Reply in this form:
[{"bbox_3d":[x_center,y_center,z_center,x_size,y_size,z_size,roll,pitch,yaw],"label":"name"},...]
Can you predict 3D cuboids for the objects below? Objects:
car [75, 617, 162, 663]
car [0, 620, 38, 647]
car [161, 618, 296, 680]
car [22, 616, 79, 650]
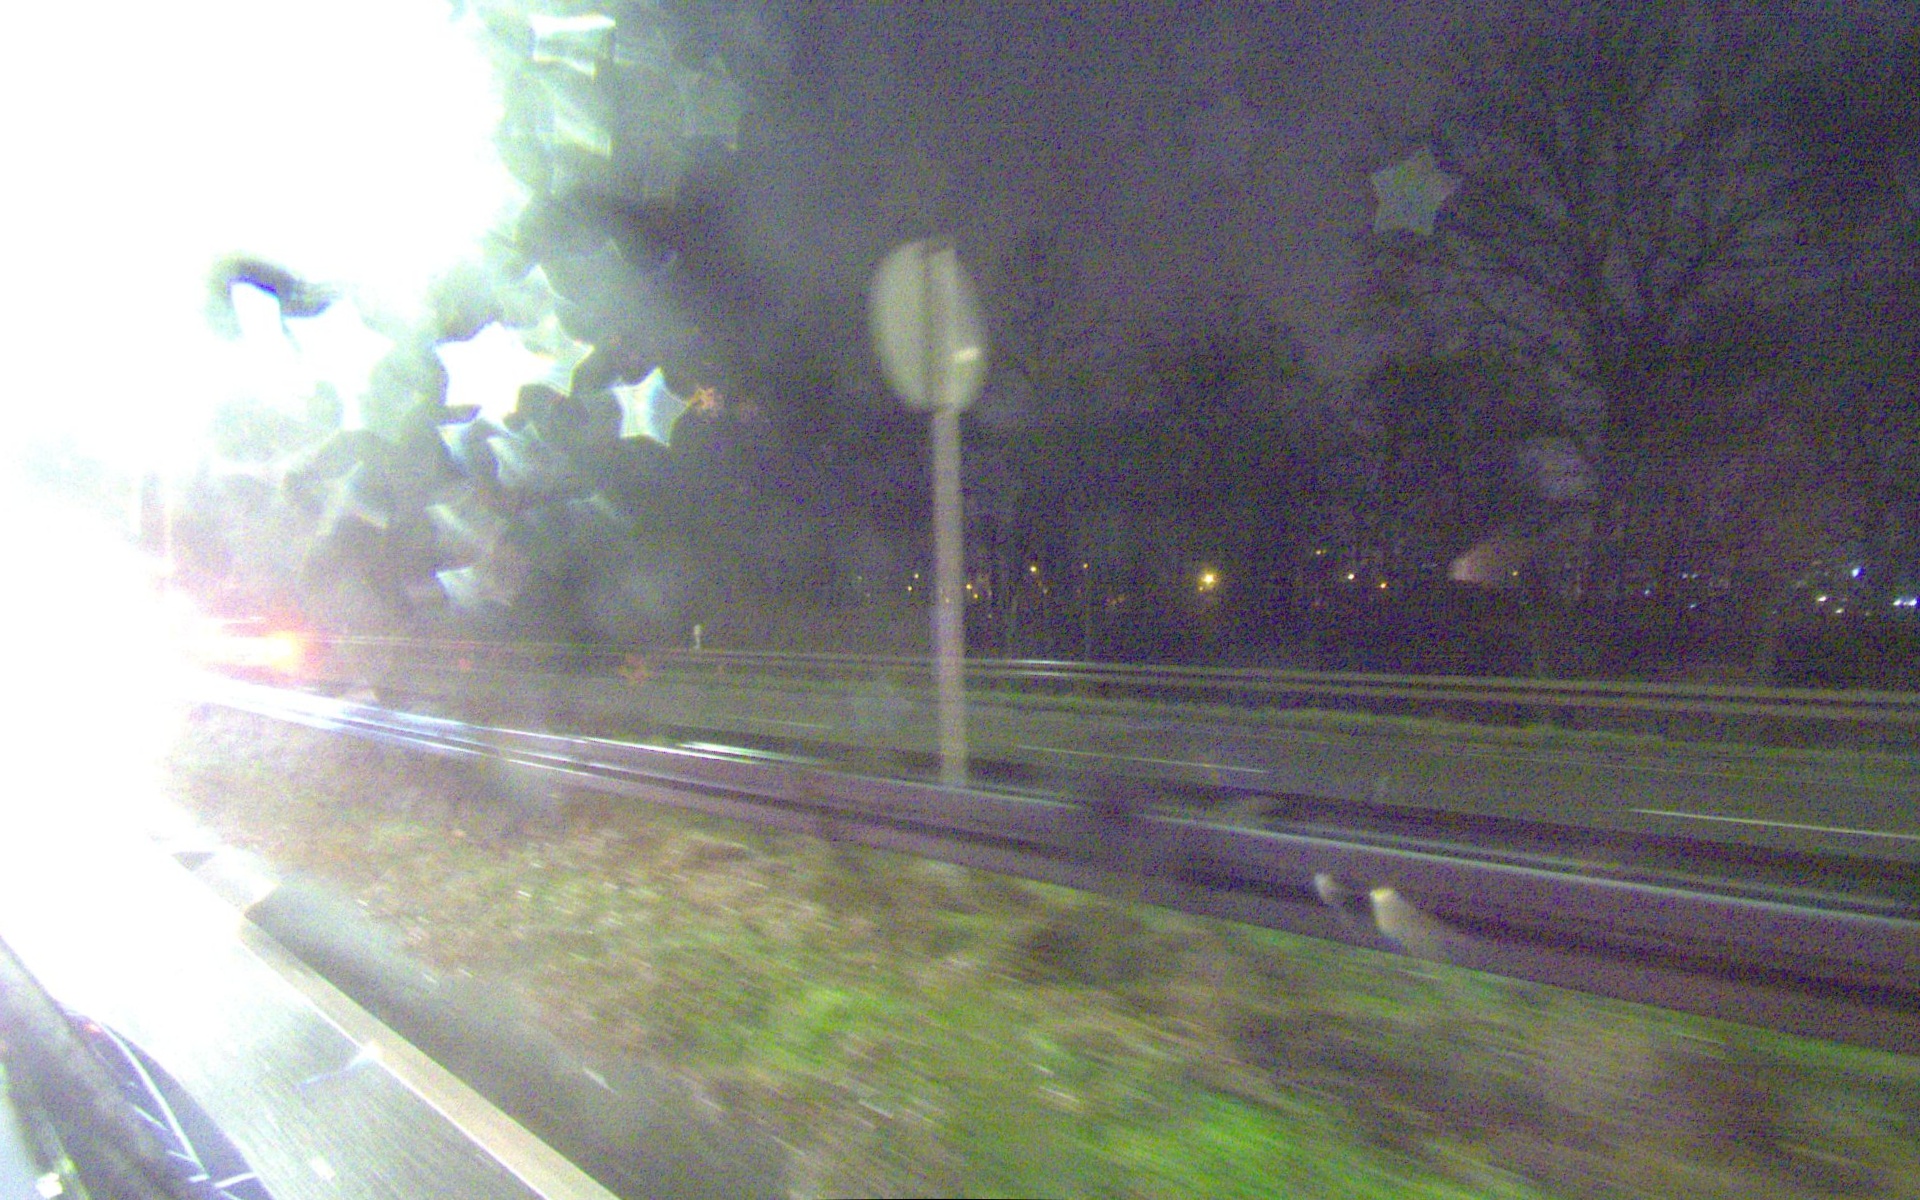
[{"bbox_3d":[-31.407,1.508,37.725,3.997,1.581,1.790,-2,-5,41],"label":"car"},{"bbox_3d":[-60.373,2.135,64.760,3.998,1.663,1.603,-1,-2,41],"label":"car"},{"bbox_3d":[-18.214,1.219,25.124,4.460,1.405,1.797,-2,-5,42],"label":"car"},{"bbox_3d":[-44.575,1.599,49.578,4.160,1.554,1.551,-1,-4,42],"label":"car"}]
